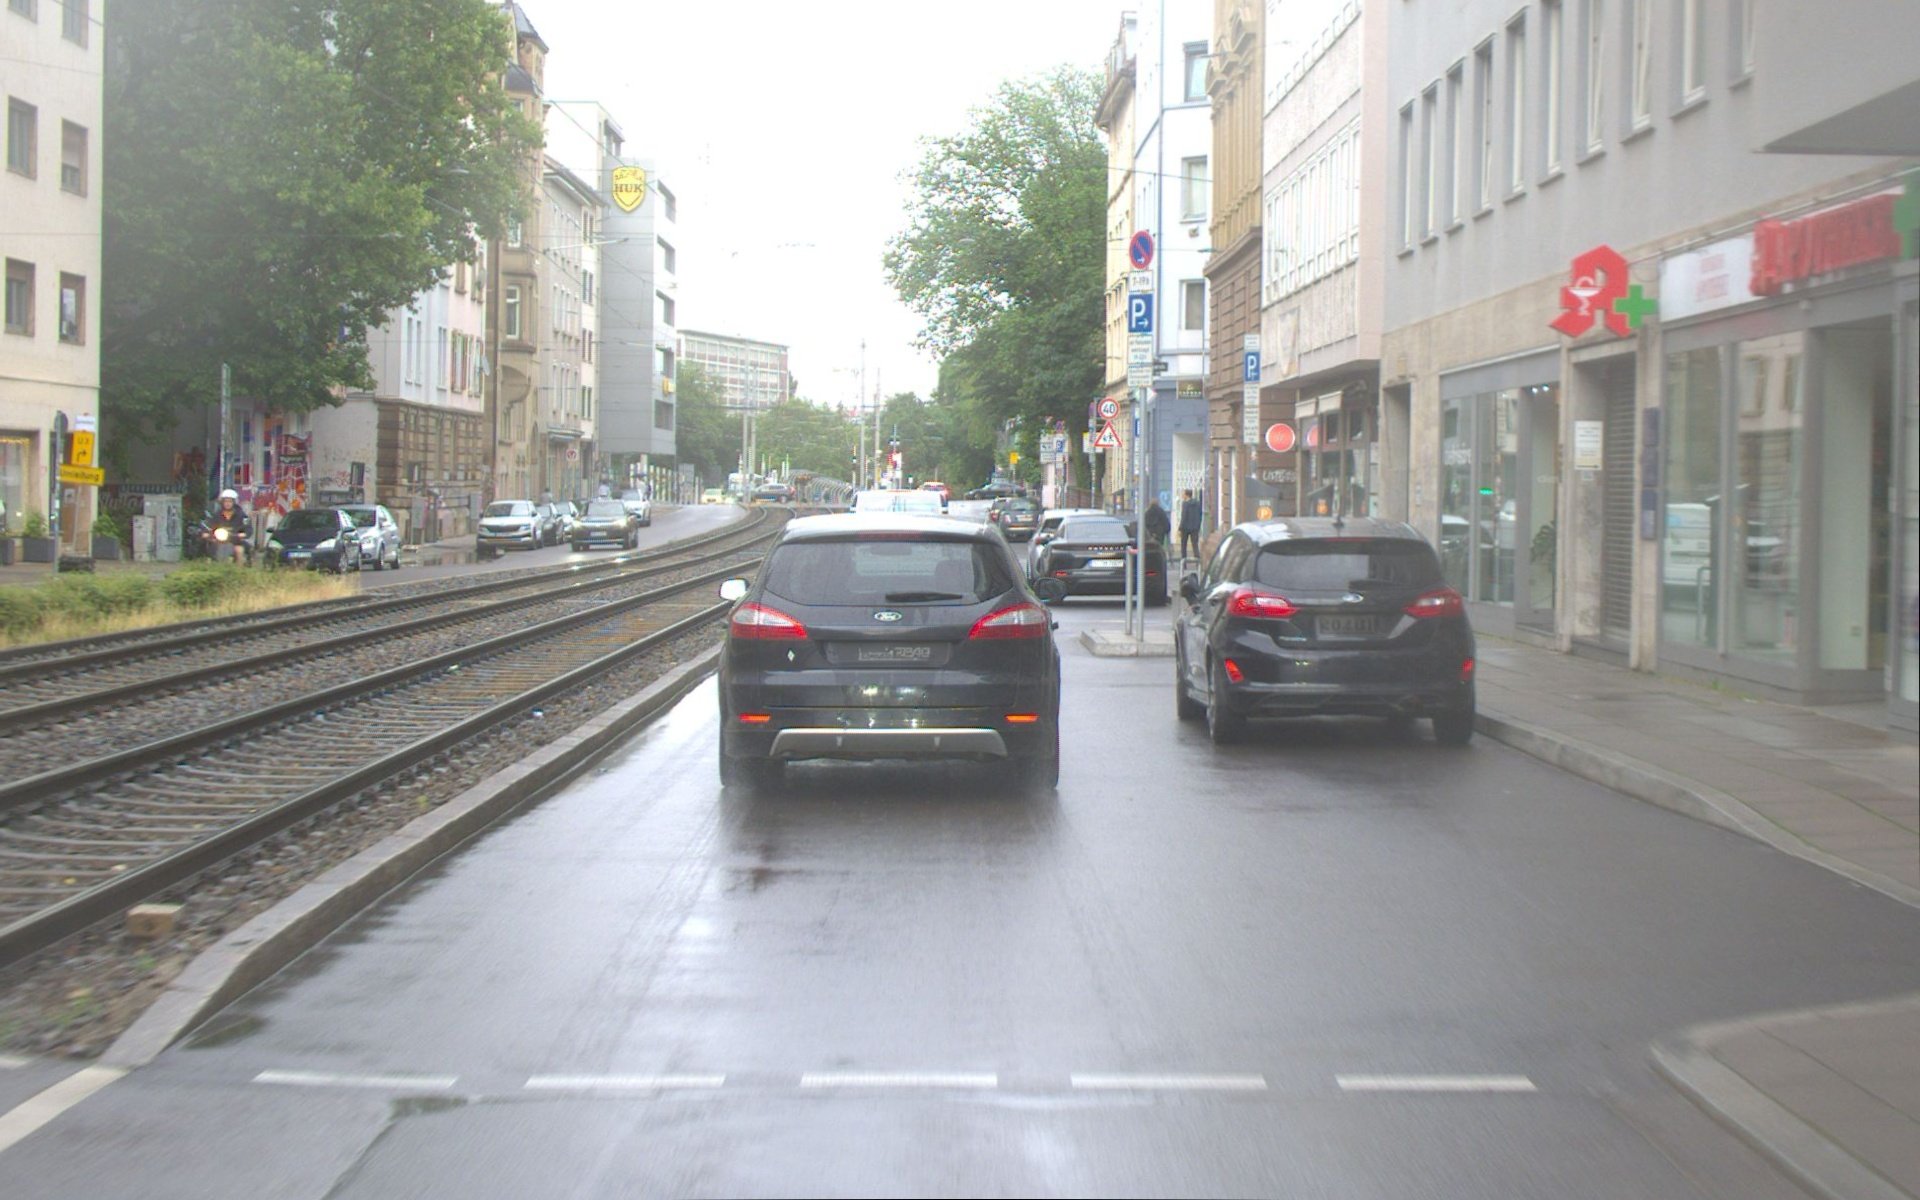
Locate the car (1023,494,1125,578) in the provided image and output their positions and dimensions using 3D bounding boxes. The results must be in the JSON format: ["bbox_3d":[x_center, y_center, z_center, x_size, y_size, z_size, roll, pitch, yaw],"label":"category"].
[{"bbox_3d":[2.176,-1.265,66.592,1.746,1.518,4.355,1,2,-1],"label":"car"}]

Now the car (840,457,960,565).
[{"bbox_3d":[-1.010,-1.526,60.032,1.993,1.810,4.271,0,1,0],"label":"car"}]

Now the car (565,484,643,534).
[{"bbox_3d":[-11.161,-2.867,108.066,1.993,1.514,4.444,1,2,0],"label":"car"}]

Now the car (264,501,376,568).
[{"bbox_3d":[-14.378,-1.496,77.366,1.744,1.463,4.220,0,2,0],"label":"car"}]

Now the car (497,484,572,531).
[{"bbox_3d":[-14.246,-3.091,115.214,1.993,1.514,4.209,1,2,0],"label":"car"}]

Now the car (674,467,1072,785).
[{"bbox_3d":[-0.430,0.103,19.372,1.993,1.588,4.271,0,1,0],"label":"car"}]

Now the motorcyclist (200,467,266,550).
[{"bbox_3d":[-10.934,-1.374,51.710,0.741,1.213,0.970,1,1,2],"label":"motorcyclist"}]

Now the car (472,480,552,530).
[{"bbox_3d":[-14.398,-3.052,110.619,1.993,1.514,4.436,1,2,0],"label":"car"}]

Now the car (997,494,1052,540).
[{"bbox_3d":[2.200,-2.858,118.207,1.738,1.484,4.001,1,2,-1],"label":"car"}]

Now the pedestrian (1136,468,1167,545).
[{"bbox_3d":[4.670,-2.278,83.679,0.662,1.845,0.821,1,2,-1],"label":"pedestrian"}]

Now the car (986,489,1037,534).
[{"bbox_3d":[1.819,-3.177,122.612,1.642,1.510,4.039,1,2,-1],"label":"car"}]

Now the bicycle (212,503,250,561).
[{"bbox_3d":[-15.799,-1.472,74.535,0.590,1.222,2.404,1,1,-7],"label":"bicycle"}]

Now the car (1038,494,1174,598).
[{"bbox_3d":[2.281,-0.857,54.823,1.993,1.588,4.572,0,1,0],"label":"car"}]

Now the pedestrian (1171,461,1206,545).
[{"bbox_3d":[5.568,-2.365,83.714,0.736,2.006,0.821,1,2,-1],"label":"pedestrian"}]

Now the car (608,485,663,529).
[{"bbox_3d":[-14.135,-4.061,149.963,1.993,1.833,5.072,1,2,-1],"label":"car"}]

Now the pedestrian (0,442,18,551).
[{"bbox_3d":[-16.908,-1.808,60.034,0.678,1.889,0.743,1,1,0],"label":"pedestrian"}]

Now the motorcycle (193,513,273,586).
[{"bbox_3d":[-10.946,-0.763,51.810,0.742,1.056,1.931,1,1,2],"label":"motorcycle"}]

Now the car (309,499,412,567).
[{"bbox_3d":[-14.328,-1.616,82.311,1.722,1.565,4.220,1,2,0],"label":"car"}]

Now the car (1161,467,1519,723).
[{"bbox_3d":[2.498,-0.061,23.599,1.993,1.588,4.271,0,1,0],"label":"car"}]
